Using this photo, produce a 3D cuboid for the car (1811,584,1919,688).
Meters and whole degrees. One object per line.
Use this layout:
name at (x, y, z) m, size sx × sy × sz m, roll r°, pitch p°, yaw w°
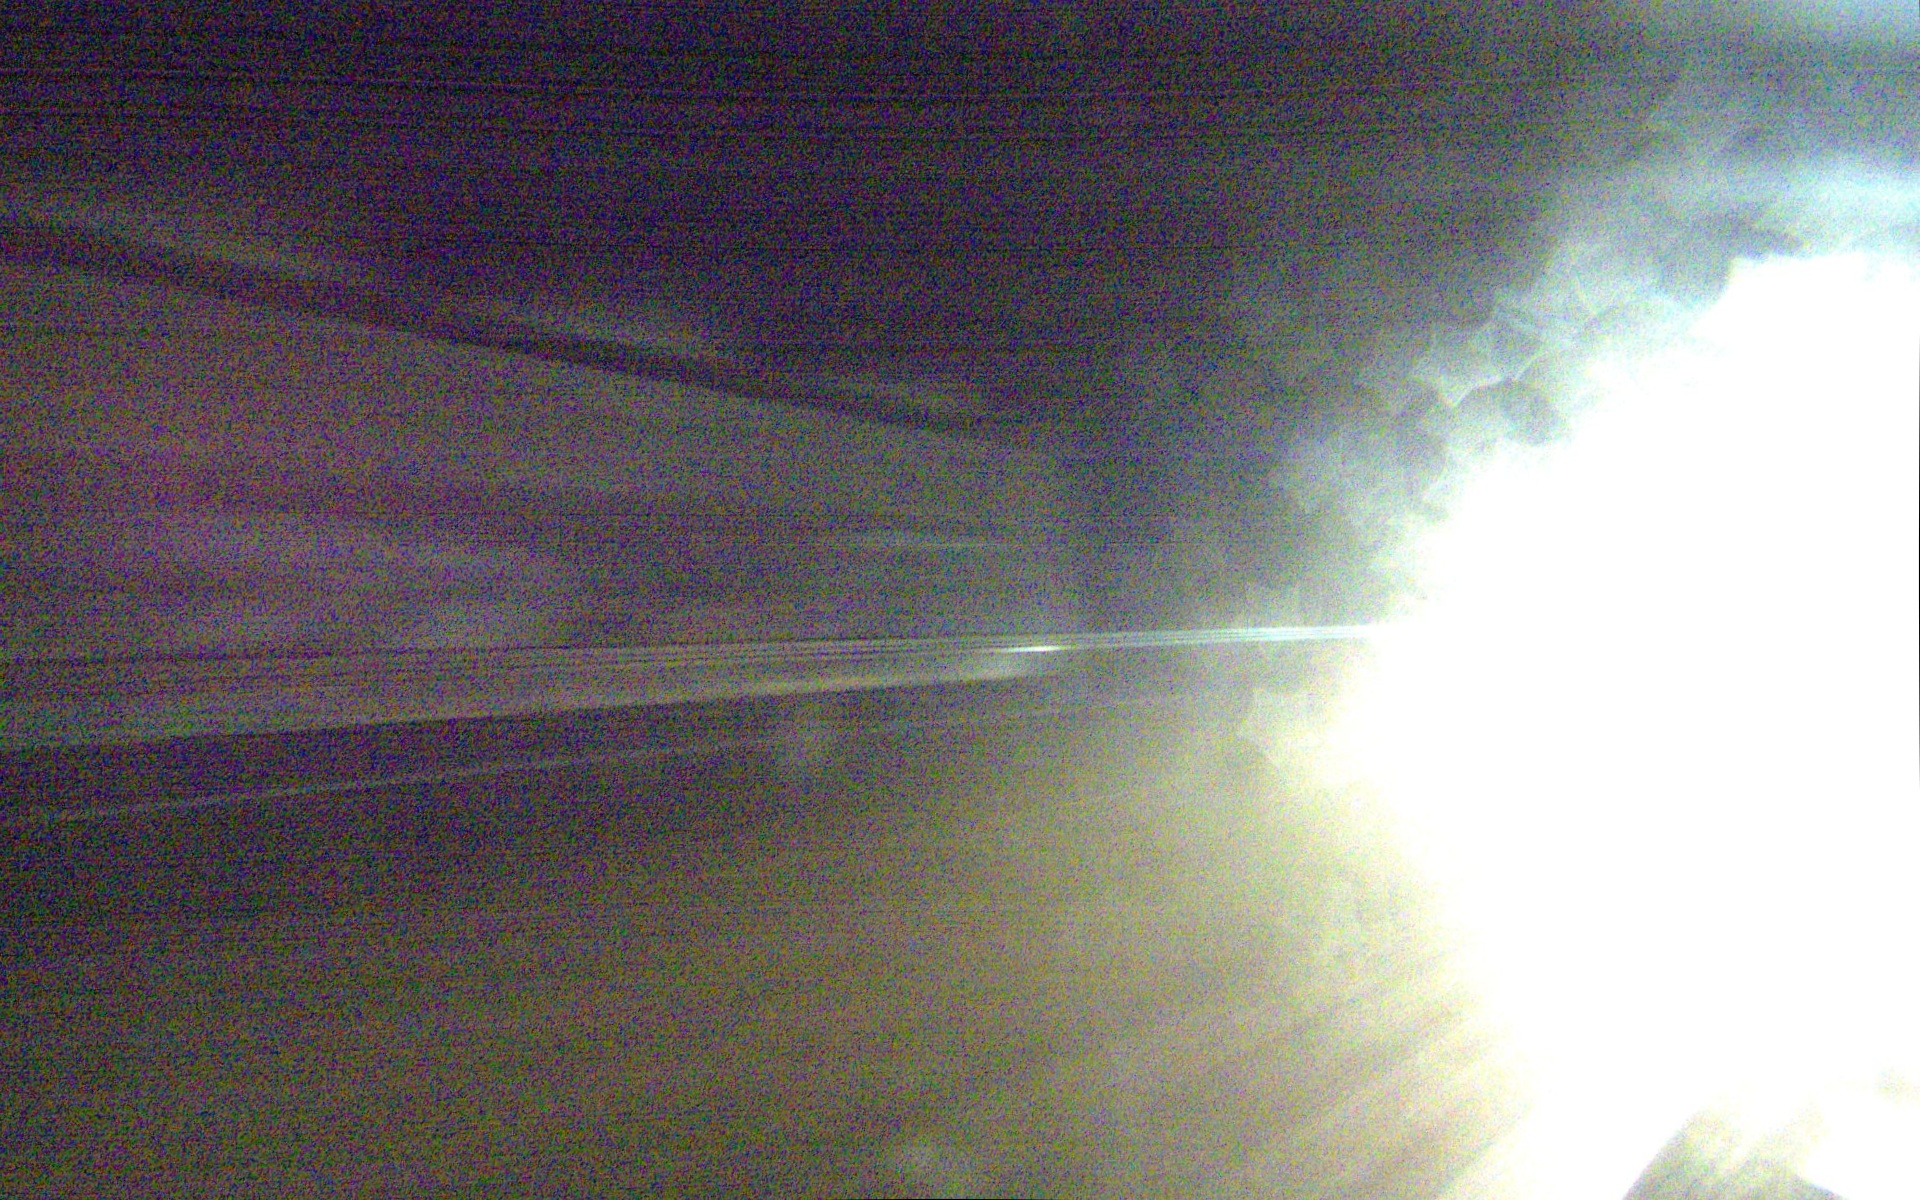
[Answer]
car at (16.370, 0.555, 17.638) m, size 4.184 × 1.638 × 1.802 m, roll -1°, pitch 0°, yaw -42°
